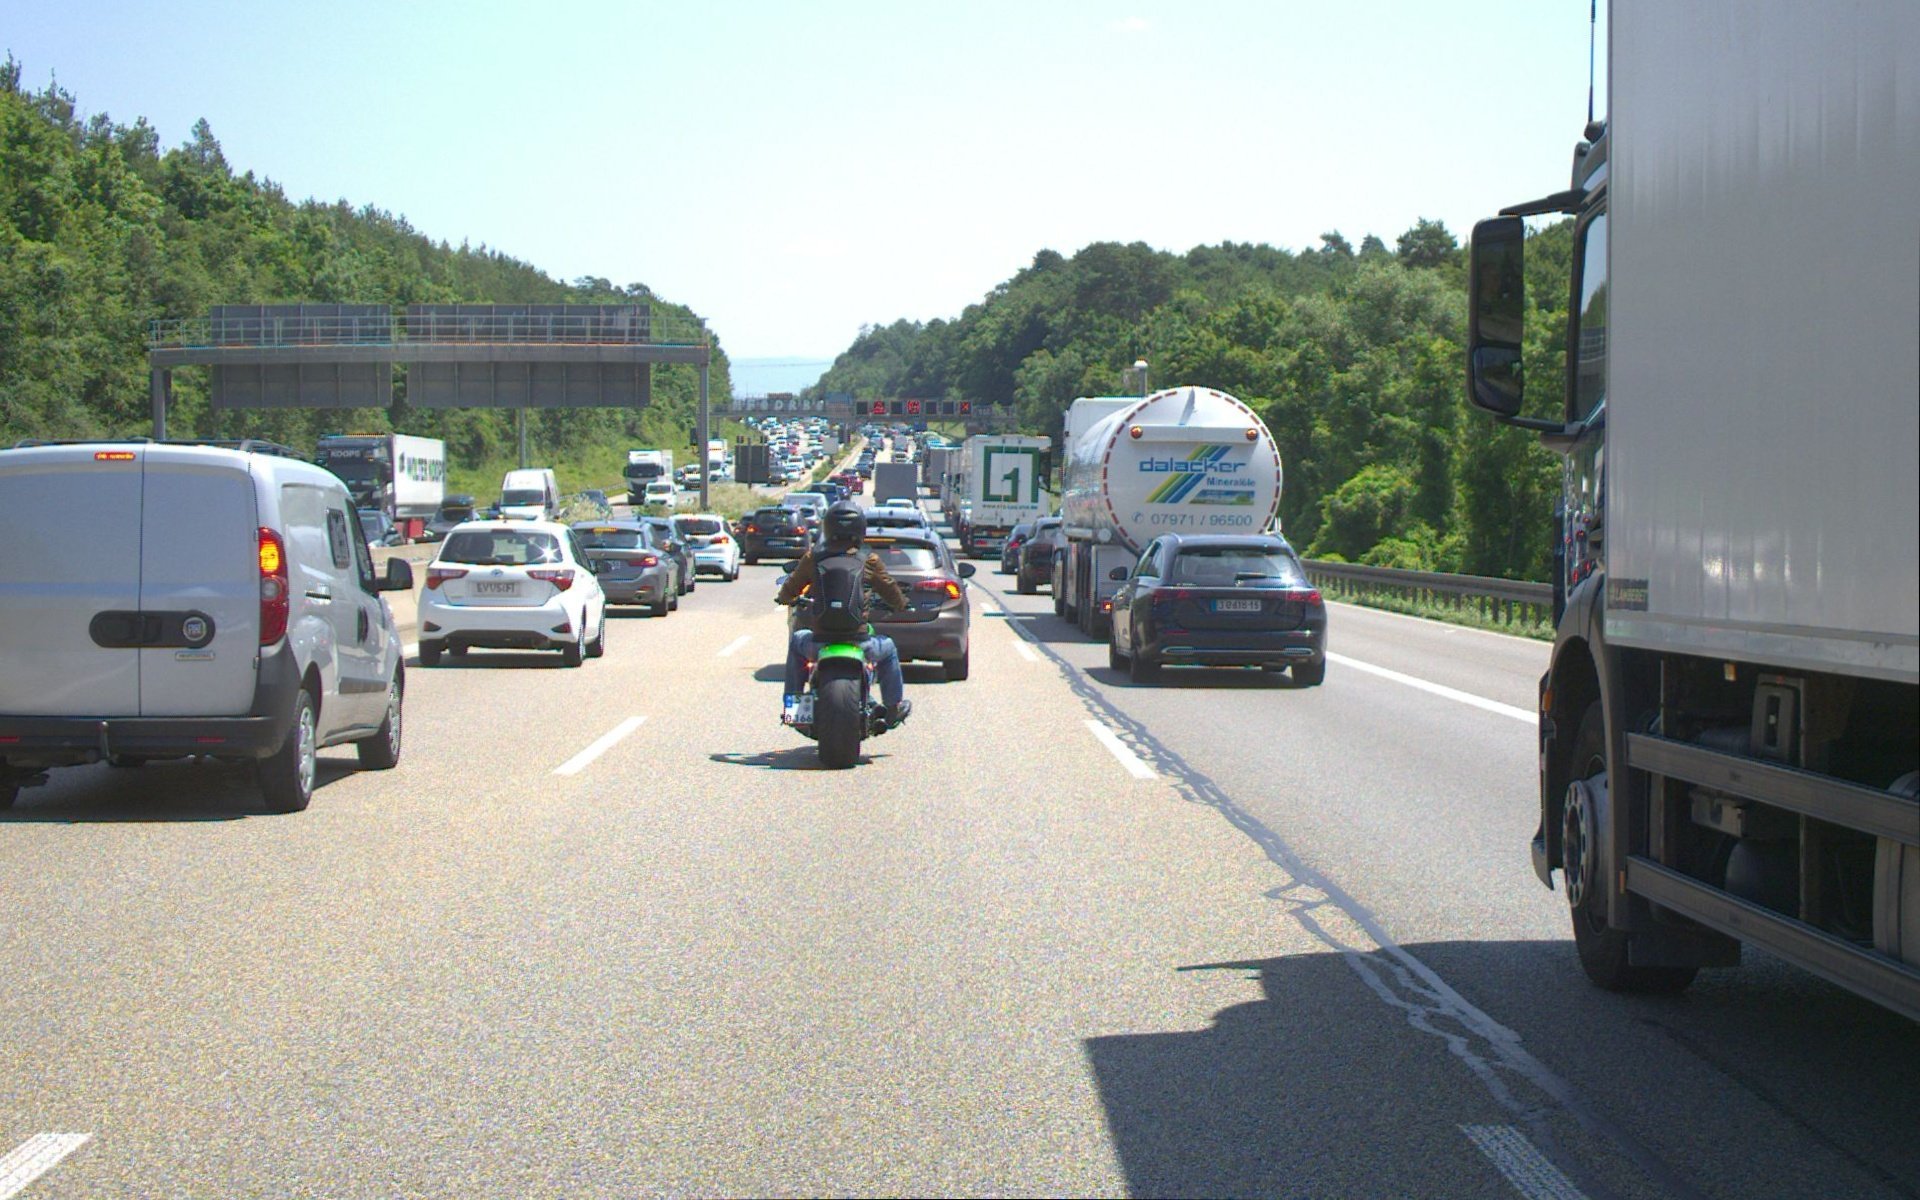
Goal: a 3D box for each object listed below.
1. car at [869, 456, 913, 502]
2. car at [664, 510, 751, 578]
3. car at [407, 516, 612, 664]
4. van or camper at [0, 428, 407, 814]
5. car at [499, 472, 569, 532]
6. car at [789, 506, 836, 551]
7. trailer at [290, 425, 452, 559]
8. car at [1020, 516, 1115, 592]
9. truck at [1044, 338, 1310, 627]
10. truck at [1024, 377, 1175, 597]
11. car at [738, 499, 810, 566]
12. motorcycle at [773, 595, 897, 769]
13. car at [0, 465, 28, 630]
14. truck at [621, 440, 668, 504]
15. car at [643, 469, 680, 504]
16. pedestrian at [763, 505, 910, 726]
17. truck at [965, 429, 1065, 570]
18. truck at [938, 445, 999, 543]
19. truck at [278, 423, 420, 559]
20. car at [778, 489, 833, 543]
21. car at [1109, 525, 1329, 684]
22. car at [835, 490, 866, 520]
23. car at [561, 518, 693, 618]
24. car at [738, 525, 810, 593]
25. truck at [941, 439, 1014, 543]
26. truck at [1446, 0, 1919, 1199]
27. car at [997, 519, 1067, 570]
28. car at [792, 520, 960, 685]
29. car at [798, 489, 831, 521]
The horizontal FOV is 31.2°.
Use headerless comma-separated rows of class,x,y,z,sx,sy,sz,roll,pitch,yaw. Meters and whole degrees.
car,-3.956,-6.951,197.934,2.504,2.578,5.017,0,1,-1
car,-5.618,-1.276,76.739,1.699,1.473,4.000,0,1,-1
car,-4.719,-0.150,36.467,1.699,1.473,4.000,0,1,-1
van or camper,-4.243,0.084,18.940,1.796,1.886,4.160,0,1,-1
car,-17.186,-3.939,138.998,1.993,2.369,7.365,0,1,-1
car,-6.824,-3.298,159.412,1.993,2.007,4.000,-2,1,-1
trailer,-21.511,-3.852,126.451,3.724,4.512,13.331,-2,1,-1
car,2.218,-0.983,71.732,1.787,1.550,3.804,0,1,-1
truck,2.932,-1.575,49.323,2.988,3.659,9.288,-2,1,-1
truck,2.317,-1.855,58.302,1.993,3.510,4.752,-2,0,-3
car,-5.287,-1.938,98.055,1.880,1.853,4.000,0,1,-1
motorcycle,-0.775,0.497,21.909,0.691,1.012,2.121,1,1,0
car,-12.598,-0.582,40.629,1.880,2.007,4.468,-3,1,-1
truck,-23.783,-9.625,259.430,2.765,4.724,10.472,0,1,-1
car,-19.085,-7.241,220.057,1.880,2.007,4.468,-3,1,-1
pedestrian,-0.780,0.086,22.000,0.849,1.357,0.961,-2,1,0
truck,1.794,-3.400,116.744,3.033,4.527,9.983,1,1,-1
truck,0.400,-5.715,185.891,3.033,5.121,9.983,1,1,-1
truck,-21.429,-3.764,120.956,3.724,4.512,7.327,-2,1,-1
car,-6.087,-3.309,135.777,1.929,2.007,4.000,-2,1,0
car,2.535,0.003,34.488,1.828,1.465,4.000,1,1,-1
car,-7.475,-6.515,235.503,1.993,2.007,4.000,1,1,-1
car,-5.069,-0.521,52.782,1.699,1.473,4.000,0,1,-1
car,-5.801,-1.279,107.578,1.993,2.007,4.000,-2,1,0
truck,0.726,-4.896,155.581,3.033,4.527,9.983,1,1,-1
truck,3.250,-0.686,7.837,2.688,3.863,9.781,-3,1,0
car,1.942,-1.529,93.918,1.787,1.370,3.804,0,1,-1
car,-0.844,-0.015,34.436,1.532,1.504,4.000,-2,1,-1
car,-9.176,-6.001,217.162,1.993,2.007,4.000,0,1,-1
